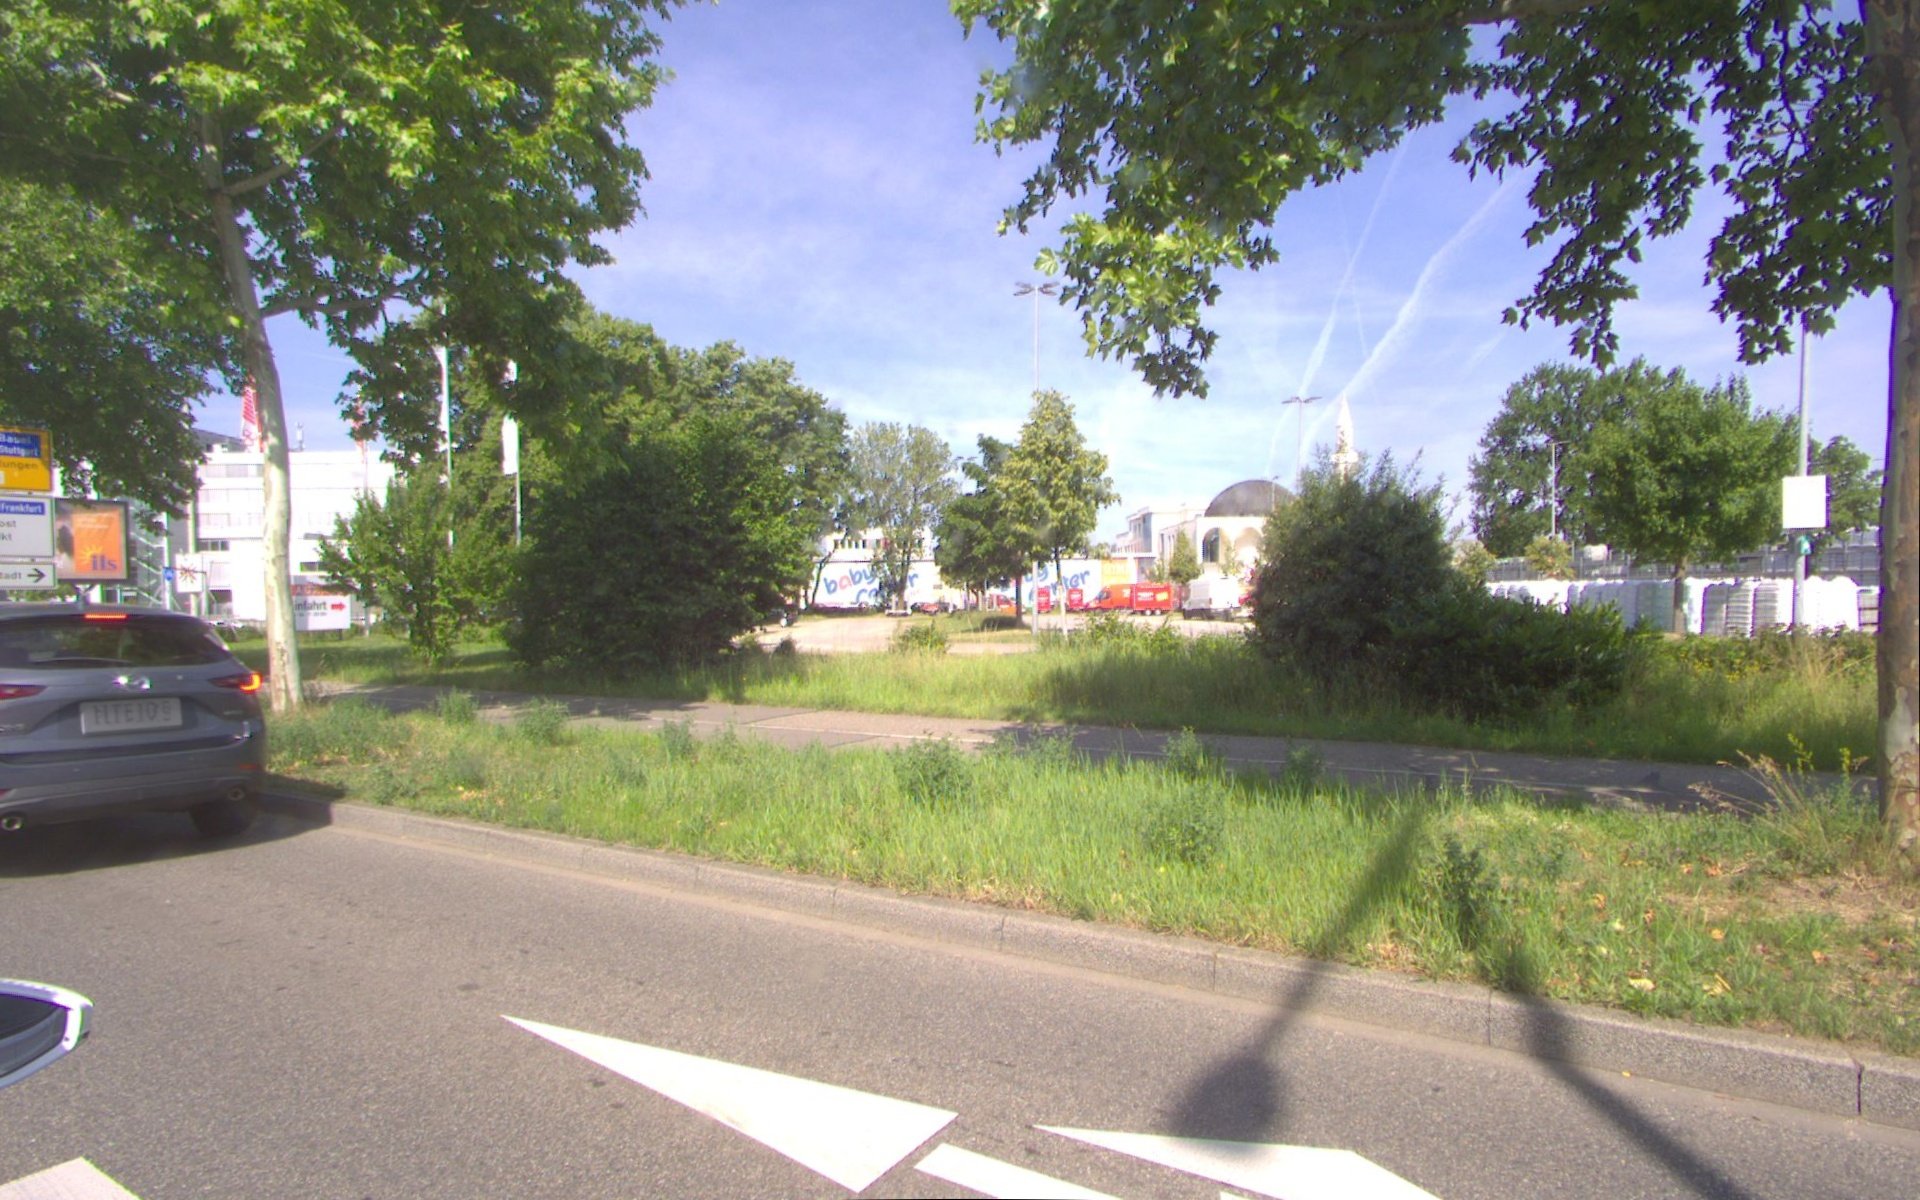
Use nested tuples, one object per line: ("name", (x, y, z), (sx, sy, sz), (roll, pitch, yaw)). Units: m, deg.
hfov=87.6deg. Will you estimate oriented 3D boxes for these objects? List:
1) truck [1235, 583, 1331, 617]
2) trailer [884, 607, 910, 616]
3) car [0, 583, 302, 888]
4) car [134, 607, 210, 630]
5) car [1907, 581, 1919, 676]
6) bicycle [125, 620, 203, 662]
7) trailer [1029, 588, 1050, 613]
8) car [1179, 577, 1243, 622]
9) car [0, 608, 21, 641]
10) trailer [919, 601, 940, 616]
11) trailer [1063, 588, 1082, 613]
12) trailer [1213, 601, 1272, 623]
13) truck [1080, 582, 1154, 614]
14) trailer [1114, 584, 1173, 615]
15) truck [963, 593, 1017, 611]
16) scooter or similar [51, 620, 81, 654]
("truck", (21.625, 0.003, 67.175), (5.751, 2.168, 2.066), (-1, 0, -1))
("trailer", (-5.943, 1.118, 94.899), (2.059, 0.792, 4.411), (-1, 0, 1))
("car", (-6.842, 0.797, 7.252), (4.431, 1.680, 1.763), (-1, -2, 32))
("car", (-53.940, 1.269, 68.631), (1.747, 1.463, 4.625), (-1, 0, -4))
("car", (16.440, 0.471, 15.235), (1.820, 1.606, 3.849), (-1, 0, 25))
("bicycle", (-23.803, 1.212, 29.983), (1.771, 1.123, 0.499), (-3, 2, -40))
("trailer", (7.750, 0.019, 97.800), (1.560, 2.408, 4.410), (0, 1, -1))
("car", (15.518, -0.044, 62.212), (1.980, 2.576, 5.687), (-3, 0, -6))
("car", (-50.145, 1.267, 50.236), (1.879, 1.711, 4.625), (-1, 0, -4))
("trailer", (-2.929, 0.808, 95.648), (1.560, 1.304, 4.409), (-1, 0, -7))
("trailer", (10.897, 0.031, 97.182), (1.520, 2.390, 4.410), (0, 1, 2))
("trailer", (15.936, 0.662, 56.621), (2.029, 1.137, 4.031), (-3, 0, -2))
("truck", (13.334, -0.138, 85.178), (5.914, 2.644, 2.018), (0, 0, -6))
("trailer", (14.509, -0.042, 79.441), (4.325, 2.409, 1.751), (0, 1, 0))
("truck", (3.369, 0.230, 112.914), (5.888, 1.855, 2.188), (0, -2, -2))
("scooter or similar", (-29.896, 1.232, 33.497), (1.107, 1.141, 0.423), (0, 1, 32))
